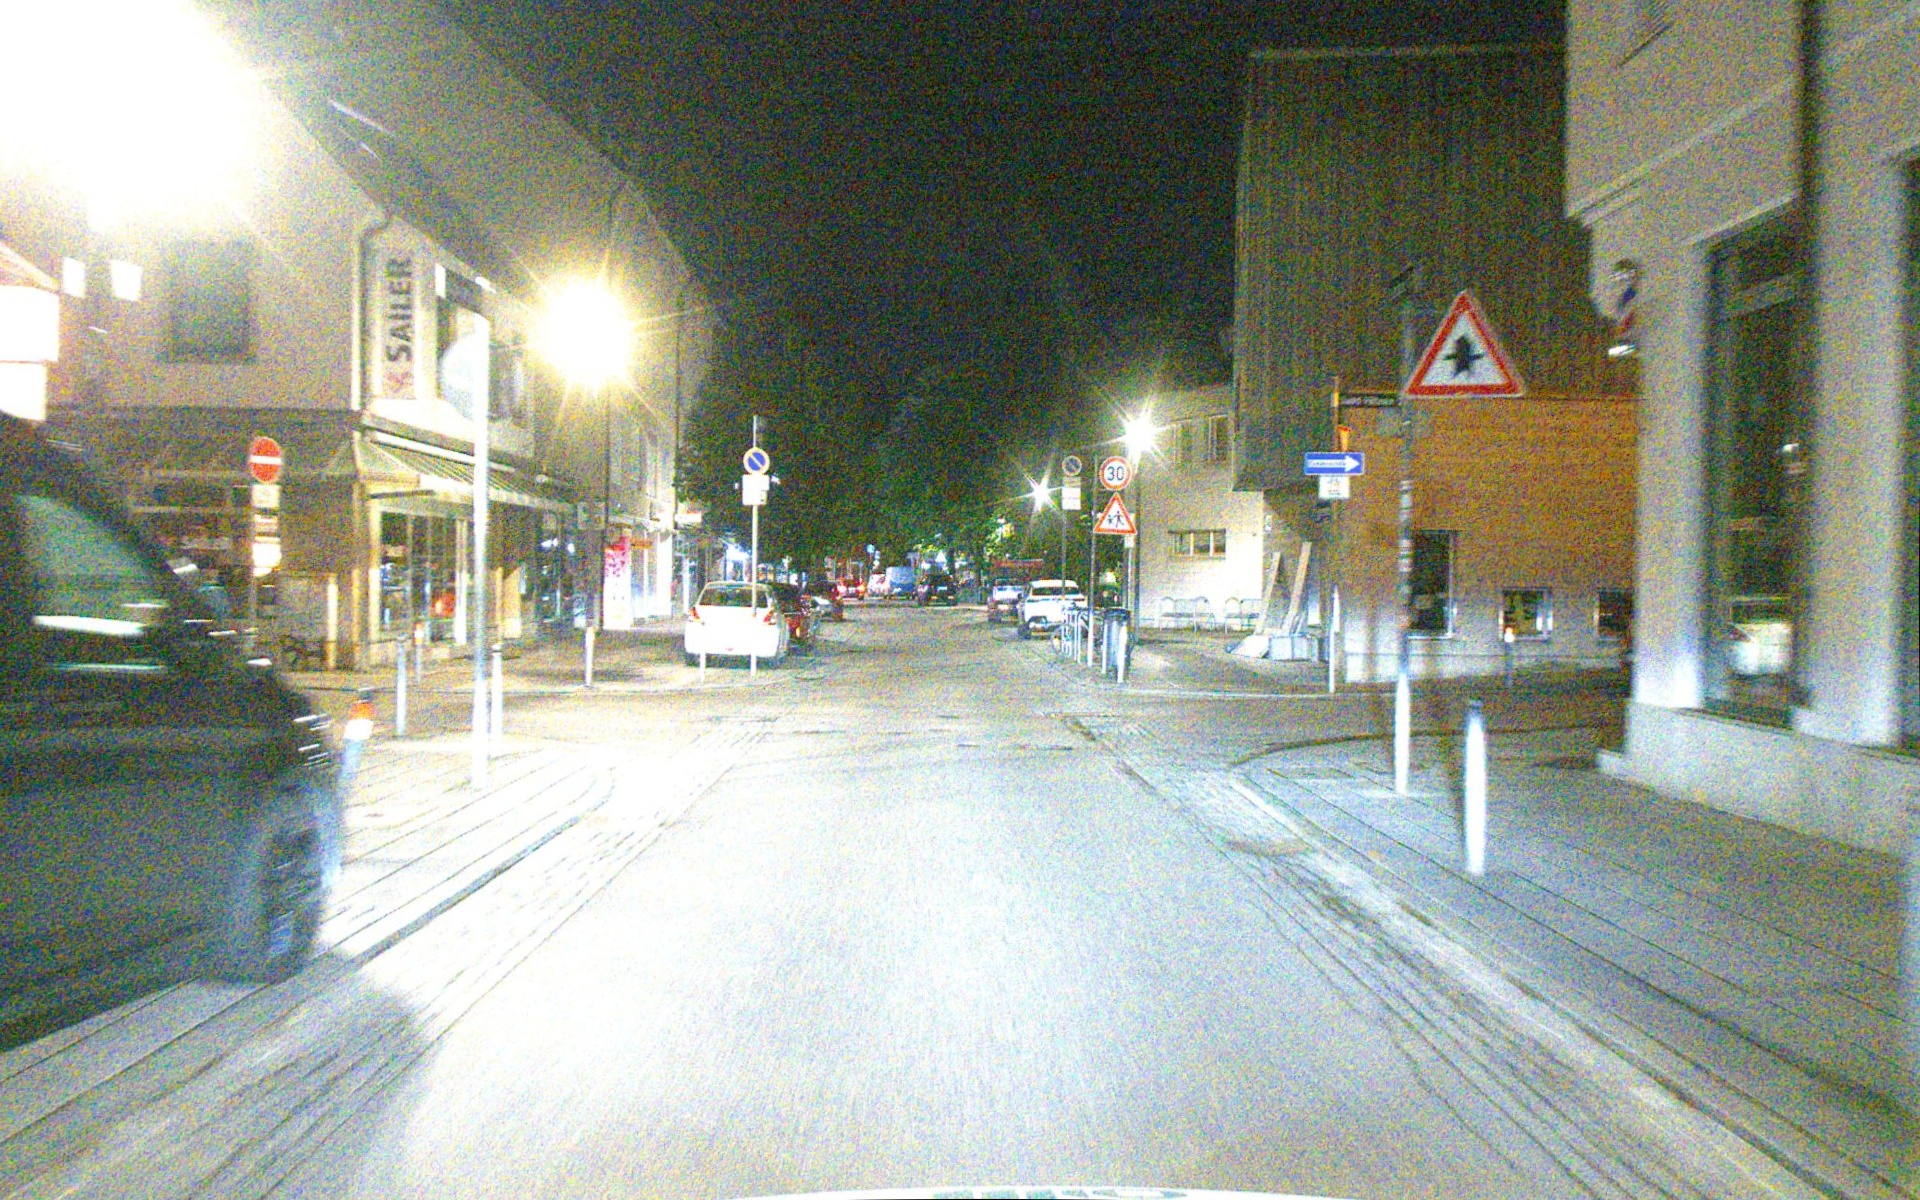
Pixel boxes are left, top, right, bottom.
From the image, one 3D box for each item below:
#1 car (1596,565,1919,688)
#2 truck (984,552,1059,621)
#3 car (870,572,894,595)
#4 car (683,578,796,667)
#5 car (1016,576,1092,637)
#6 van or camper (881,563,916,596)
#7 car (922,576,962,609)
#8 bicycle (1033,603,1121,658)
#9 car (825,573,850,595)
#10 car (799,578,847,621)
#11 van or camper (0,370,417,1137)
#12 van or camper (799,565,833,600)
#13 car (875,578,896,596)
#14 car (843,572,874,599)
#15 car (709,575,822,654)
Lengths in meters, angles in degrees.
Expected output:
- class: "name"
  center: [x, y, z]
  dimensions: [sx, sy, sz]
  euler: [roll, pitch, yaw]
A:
- class: "car"
  center: [10.755, 0.337, 22.465]
  dimensions: [3.541, 1.467, 1.725]
  euler: [-2, 0, -2]
- class: "truck"
  center: [2.154, -0.508, 59.751]
  dimensions: [2.289, 2.352, 5.779]
  euler: [0, 1, -2]
- class: "car"
  center: [-6.598, -1.421, 140.073]
  dimensions: [1.804, 1.934, 3.840]
  euler: [0, 1, -7]
- class: "car"
  center: [-4.005, 0.365, 30.576]
  dimensions: [1.694, 1.502, 3.845]
  euler: [1, 1, -2]
- class: "car"
  center: [2.486, 0.141, 44.505]
  dimensions: [1.753, 1.517, 4.058]
  euler: [-1, 1, -1]
- class: "van or camper"
  center: [-4.543, -1.503, 121.246]
  dimensions: [2.069, 2.357, 4.254]
  euler: [-1, 1, -8]
- class: "car"
  center: [-1.073, -0.462, 95.041]
  dimensions: [1.780, 1.860, 4.340]
  euler: [0, 1, -7]
- class: "bicycle"
  center: [2.320, 0.599, 32.942]
  dimensions: [1.720, 1.080, 0.346]
  euler: [0, 0, -4]
- class: "car"
  center: [-9.943, -1.279, 134.073]
  dimensions: [1.955, 1.732, 3.995]
  euler: [0, 1, -6]
- class: "car"
  center: [-5.326, -0.047, 63.987]
  dimensions: [1.642, 1.570, 4.224]
  euler: [1, 1, -7]
- class: "van or camper"
  center: [-3.361, 0.383, 4.386]
  dimensions: [1.807, 1.976, 5.156]
  euler: [1, 1, 4]
- class: "van or camper"
  center: [-8.880, -1.065, 101.808]
  dimensions: [1.831, 2.046, 4.254]
  euler: [2, 0, -8]
- class: "car"
  center: [-6.052, -1.070, 134.062]
  dimensions: [1.502, 1.443, 3.840]
  euler: [0, 1, -7]
- class: "car"
  center: [-7.375, -1.054, 119.530]
  dimensions: [1.956, 1.855, 3.993]
  euler: [0, 1, -8]
- class: "car"
  center: [-4.157, 0.264, 36.156]
  dimensions: [1.979, 1.514, 5.006]
  euler: [3, 1, -2]
